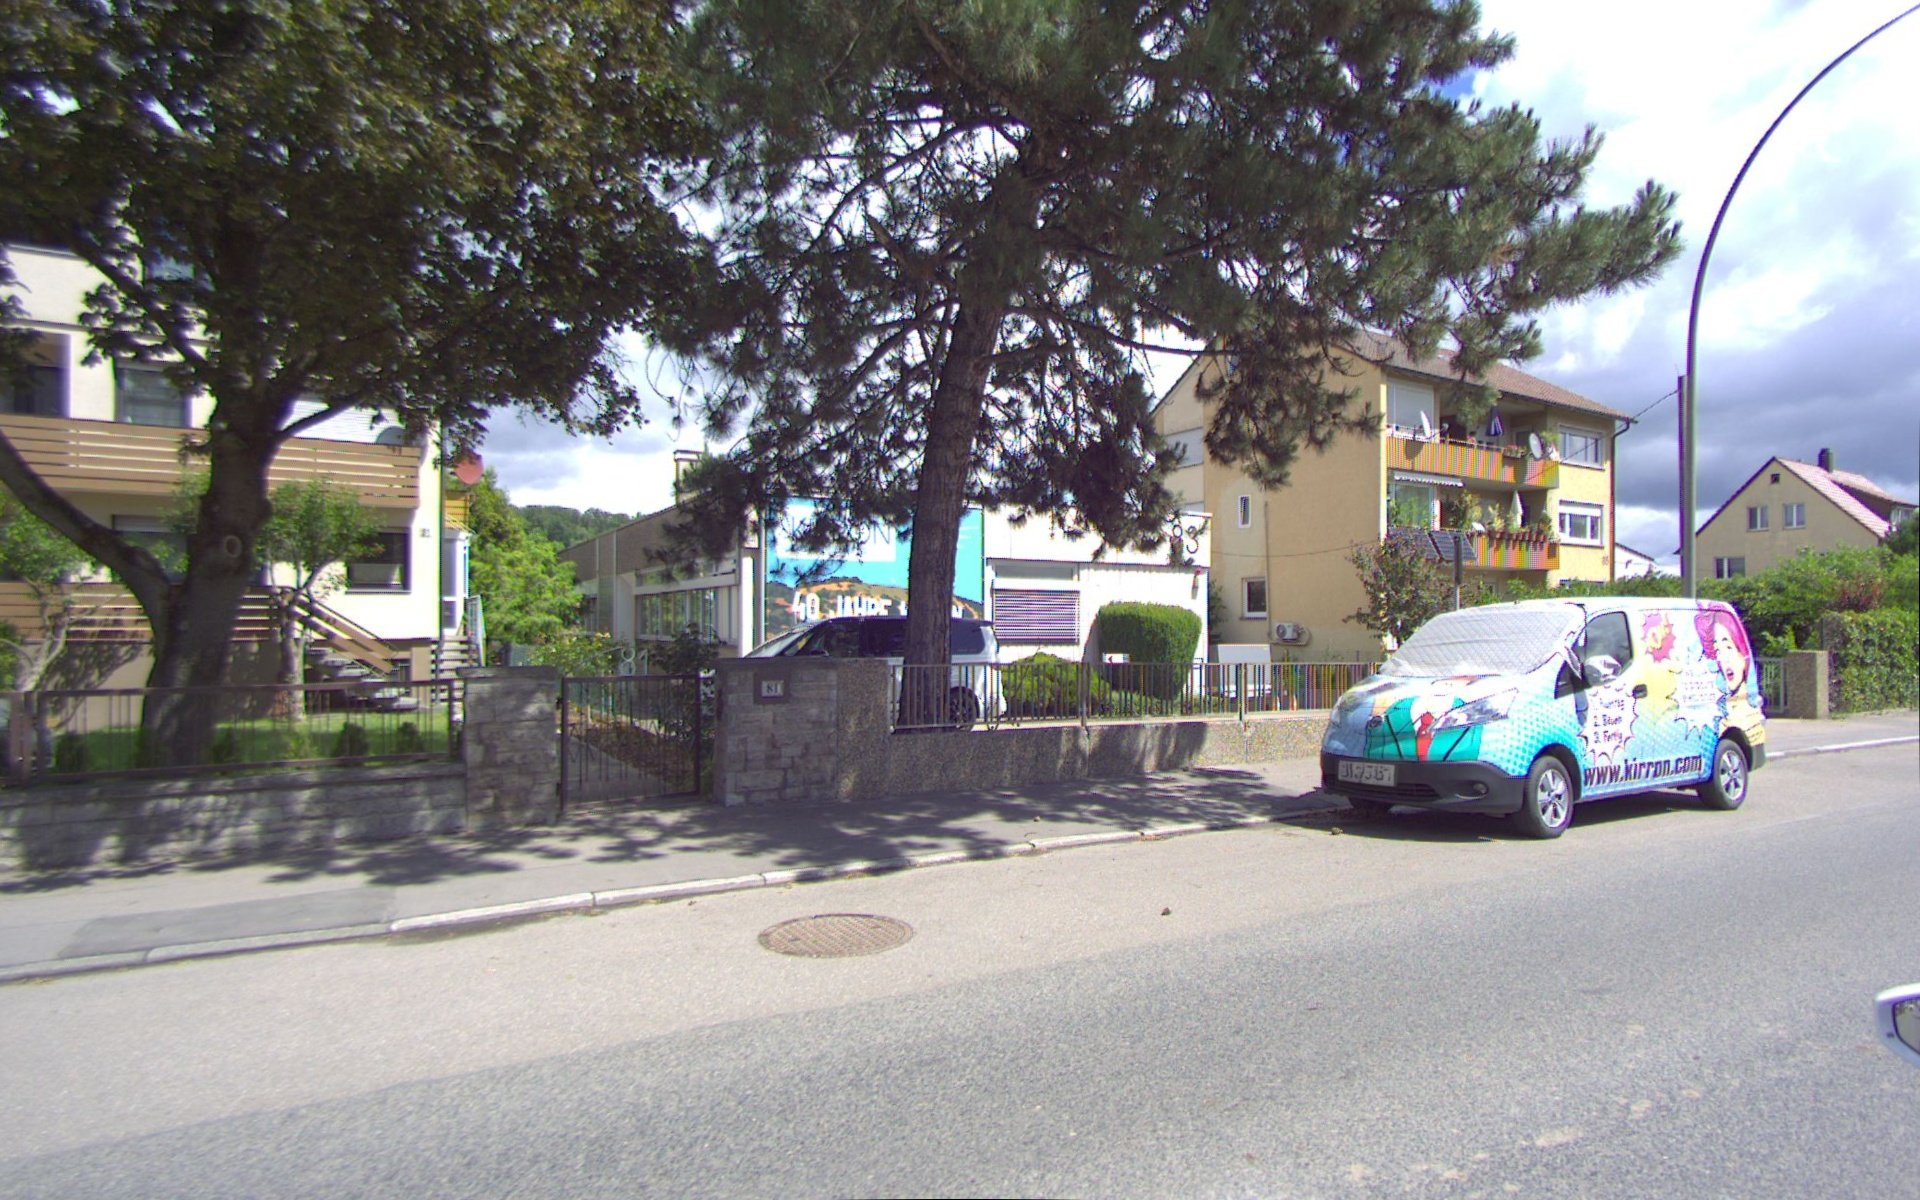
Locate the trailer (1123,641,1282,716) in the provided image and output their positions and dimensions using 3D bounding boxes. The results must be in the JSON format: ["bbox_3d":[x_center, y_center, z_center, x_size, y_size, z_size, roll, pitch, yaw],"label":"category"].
[{"bbox_3d":[7.131,2.379,29.946,2.432,1.908,3.971,1,-8,-31],"label":"trailer"}]

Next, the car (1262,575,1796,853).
[{"bbox_3d":[5.105,0.861,8.846,4.837,1.877,1.825,1,-5,-30],"label":"car"}]

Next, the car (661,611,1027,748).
[{"bbox_3d":[-1.746,1.179,15.901,5.416,1.854,2.070,2,-3,-31],"label":"car"}]

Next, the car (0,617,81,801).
[{"bbox_3d":[-10.142,0.911,8.320,4.045,1.563,1.756,2,-2,-34],"label":"car"}]
